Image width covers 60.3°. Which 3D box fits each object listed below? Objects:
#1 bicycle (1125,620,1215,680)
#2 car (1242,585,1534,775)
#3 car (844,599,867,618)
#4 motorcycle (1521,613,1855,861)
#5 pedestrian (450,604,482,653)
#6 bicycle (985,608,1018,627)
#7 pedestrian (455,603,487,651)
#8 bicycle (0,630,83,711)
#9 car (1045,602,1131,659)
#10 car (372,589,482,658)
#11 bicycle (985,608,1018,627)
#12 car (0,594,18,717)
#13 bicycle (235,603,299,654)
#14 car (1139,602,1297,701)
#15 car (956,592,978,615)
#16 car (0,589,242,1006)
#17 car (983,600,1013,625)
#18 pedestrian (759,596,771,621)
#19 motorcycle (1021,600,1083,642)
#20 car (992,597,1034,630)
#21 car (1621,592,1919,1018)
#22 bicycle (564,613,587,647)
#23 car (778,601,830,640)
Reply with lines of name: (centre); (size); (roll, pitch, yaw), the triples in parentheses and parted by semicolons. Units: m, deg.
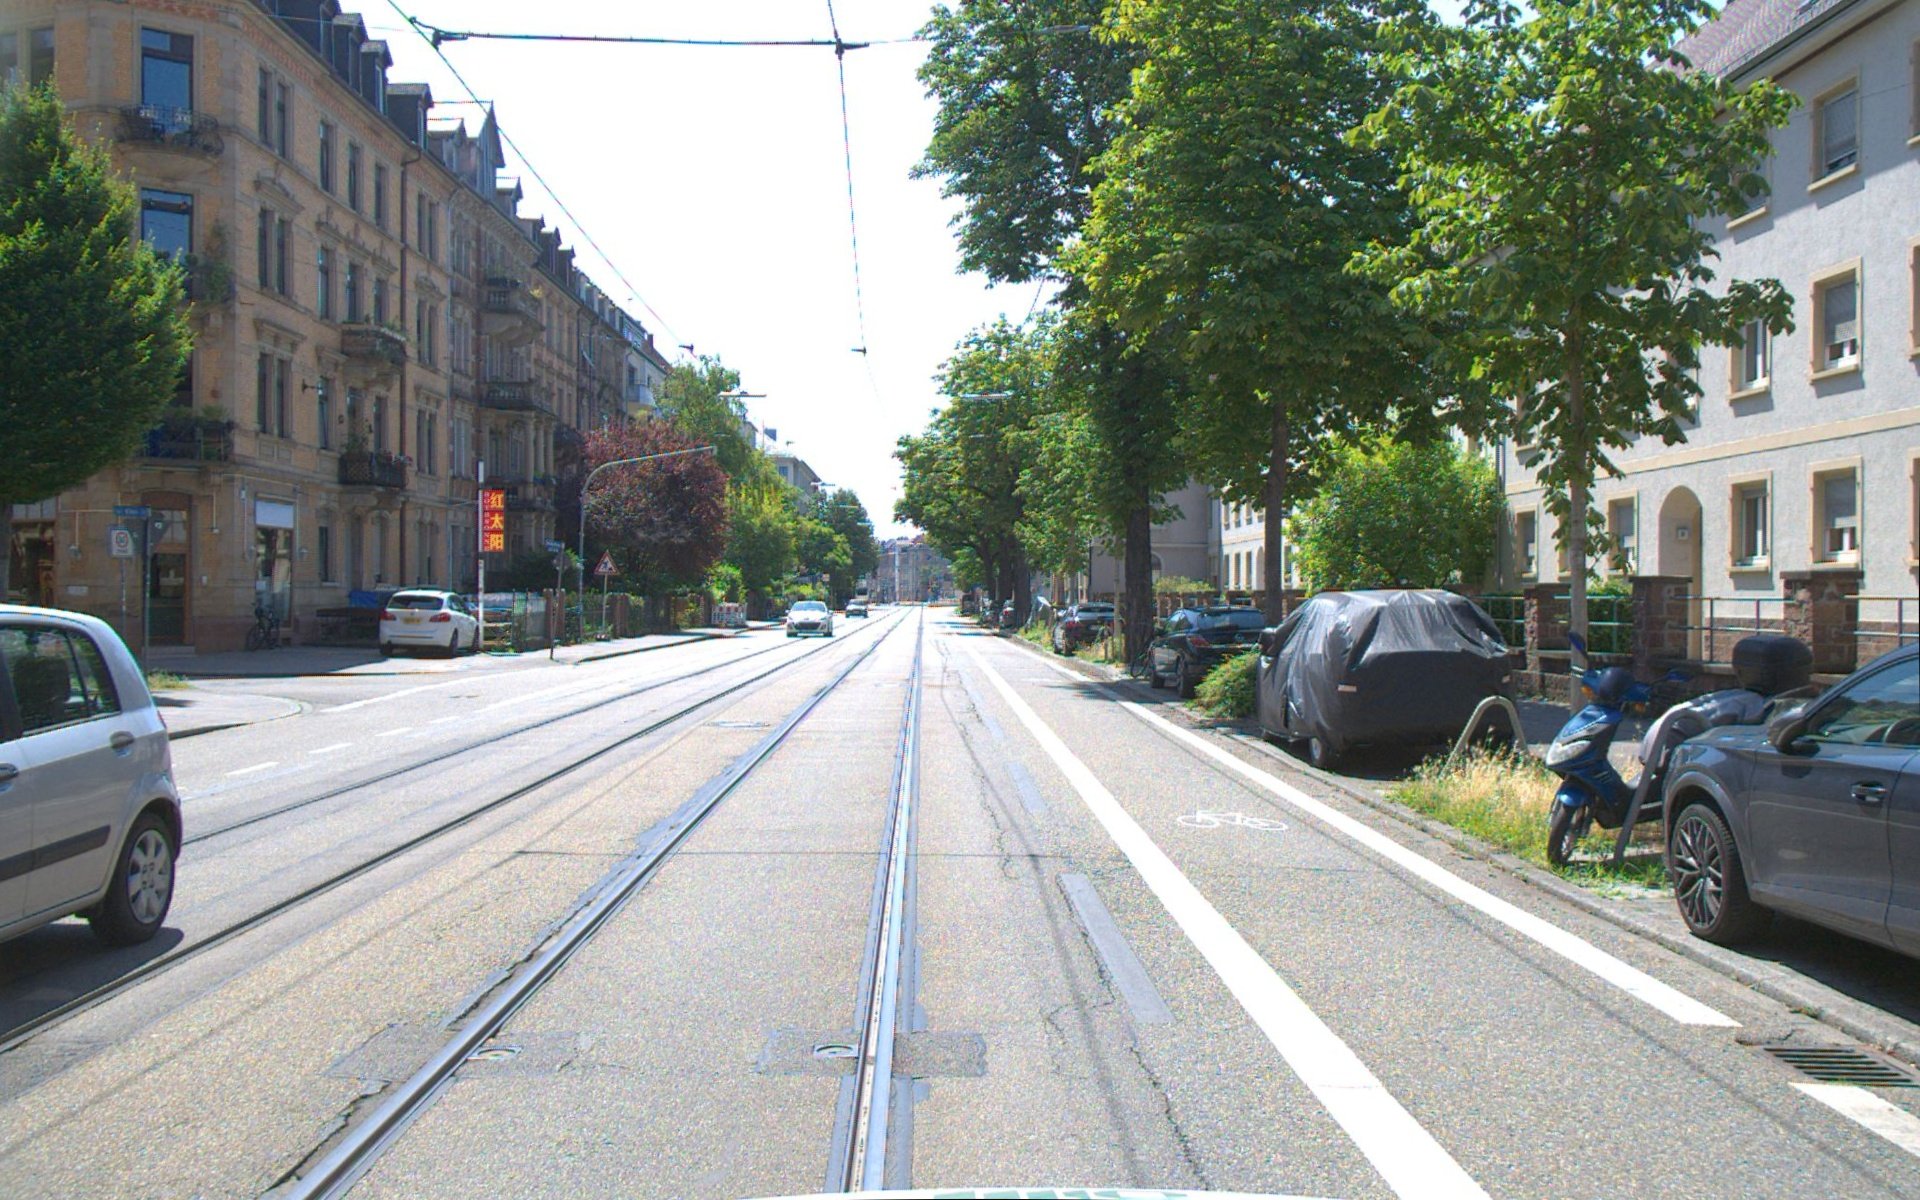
bicycle: (4.054, 0.956, 31.982); (1.622, 1.097, 0.605); (-1, 0, -9)
car: (4.276, 0.700, 17.360); (1.907, 1.679, 4.881); (-1, 1, 2)
car: (-8.325, 0.640, 132.131); (1.652, 1.480, 3.747); (-1, 0, -1)
motorcycle: (4.564, 0.822, 10.403); (1.878, 1.458, 0.670); (-1, 0, -11)
pedestrian: (-13.935, 0.792, 46.652); (0.696, 1.320, 0.710); (-2, 1, -6)
bicycle: (2.459, 1.024, 98.234); (1.921, 1.082, 0.599); (-1, -1, 5)
pedestrian: (-14.013, 0.763, 47.402); (0.696, 1.320, 0.710); (-2, 1, -6)
bicycle: (-14.734, 1.100, 25.866); (0.490, 1.249, 1.848); (-1, -2, 26)
car: (3.557, 0.809, 46.660); (1.734, 1.451, 4.858); (-1, 1, -4)
car: (-13.382, 0.568, 41.739); (1.830, 1.628, 4.096); (1, 0, -6)
bicycle: (2.452, 1.043, 97.681); (1.849, 1.070, 0.538); (-1, -1, 5)
car: (-13.229, 0.661, 19.111); (3.683, 1.453, 1.713); (0, -1, -1)
bicycle: (-17.184, 0.692, 41.057); (0.625, 1.208, 2.145); (-1, 0, 2)
car: (4.182, 0.788, 27.445); (1.661, 1.443, 4.354); (-1, 1, -4)
car: (0.617, 0.343, 156.729); (1.953, 2.071, 4.696); (-1, 1, -1)
car: (-4.244, 0.719, 5.955); (1.651, 1.475, 3.999); (-1, 0, -2)
car: (2.351, 0.776, 102.493); (1.589, 1.473, 3.808); (-3, 0, -2)
pedestrian: (-12.679, 0.550, 107.425); (0.736, 1.657, 0.832); (0, 0, -8)
motorcycle: (3.446, 0.780, 62.197); (2.279, 1.567, 0.864); (0, 0, 42)
car: (2.659, 0.645, 83.718); (1.738, 1.527, 4.303); (-2, 0, -2)
car: (4.464, 0.779, 6.551); (1.698, 1.579, 4.451); (-1, 1, -3)
bicycle: (-11.817, 0.906, 50.862); (0.445, 1.021, 1.805); (0, 0, -5)
car: (-6.263, 0.806, 66.742); (1.720, 1.449, 3.999); (-1, 0, -1)
